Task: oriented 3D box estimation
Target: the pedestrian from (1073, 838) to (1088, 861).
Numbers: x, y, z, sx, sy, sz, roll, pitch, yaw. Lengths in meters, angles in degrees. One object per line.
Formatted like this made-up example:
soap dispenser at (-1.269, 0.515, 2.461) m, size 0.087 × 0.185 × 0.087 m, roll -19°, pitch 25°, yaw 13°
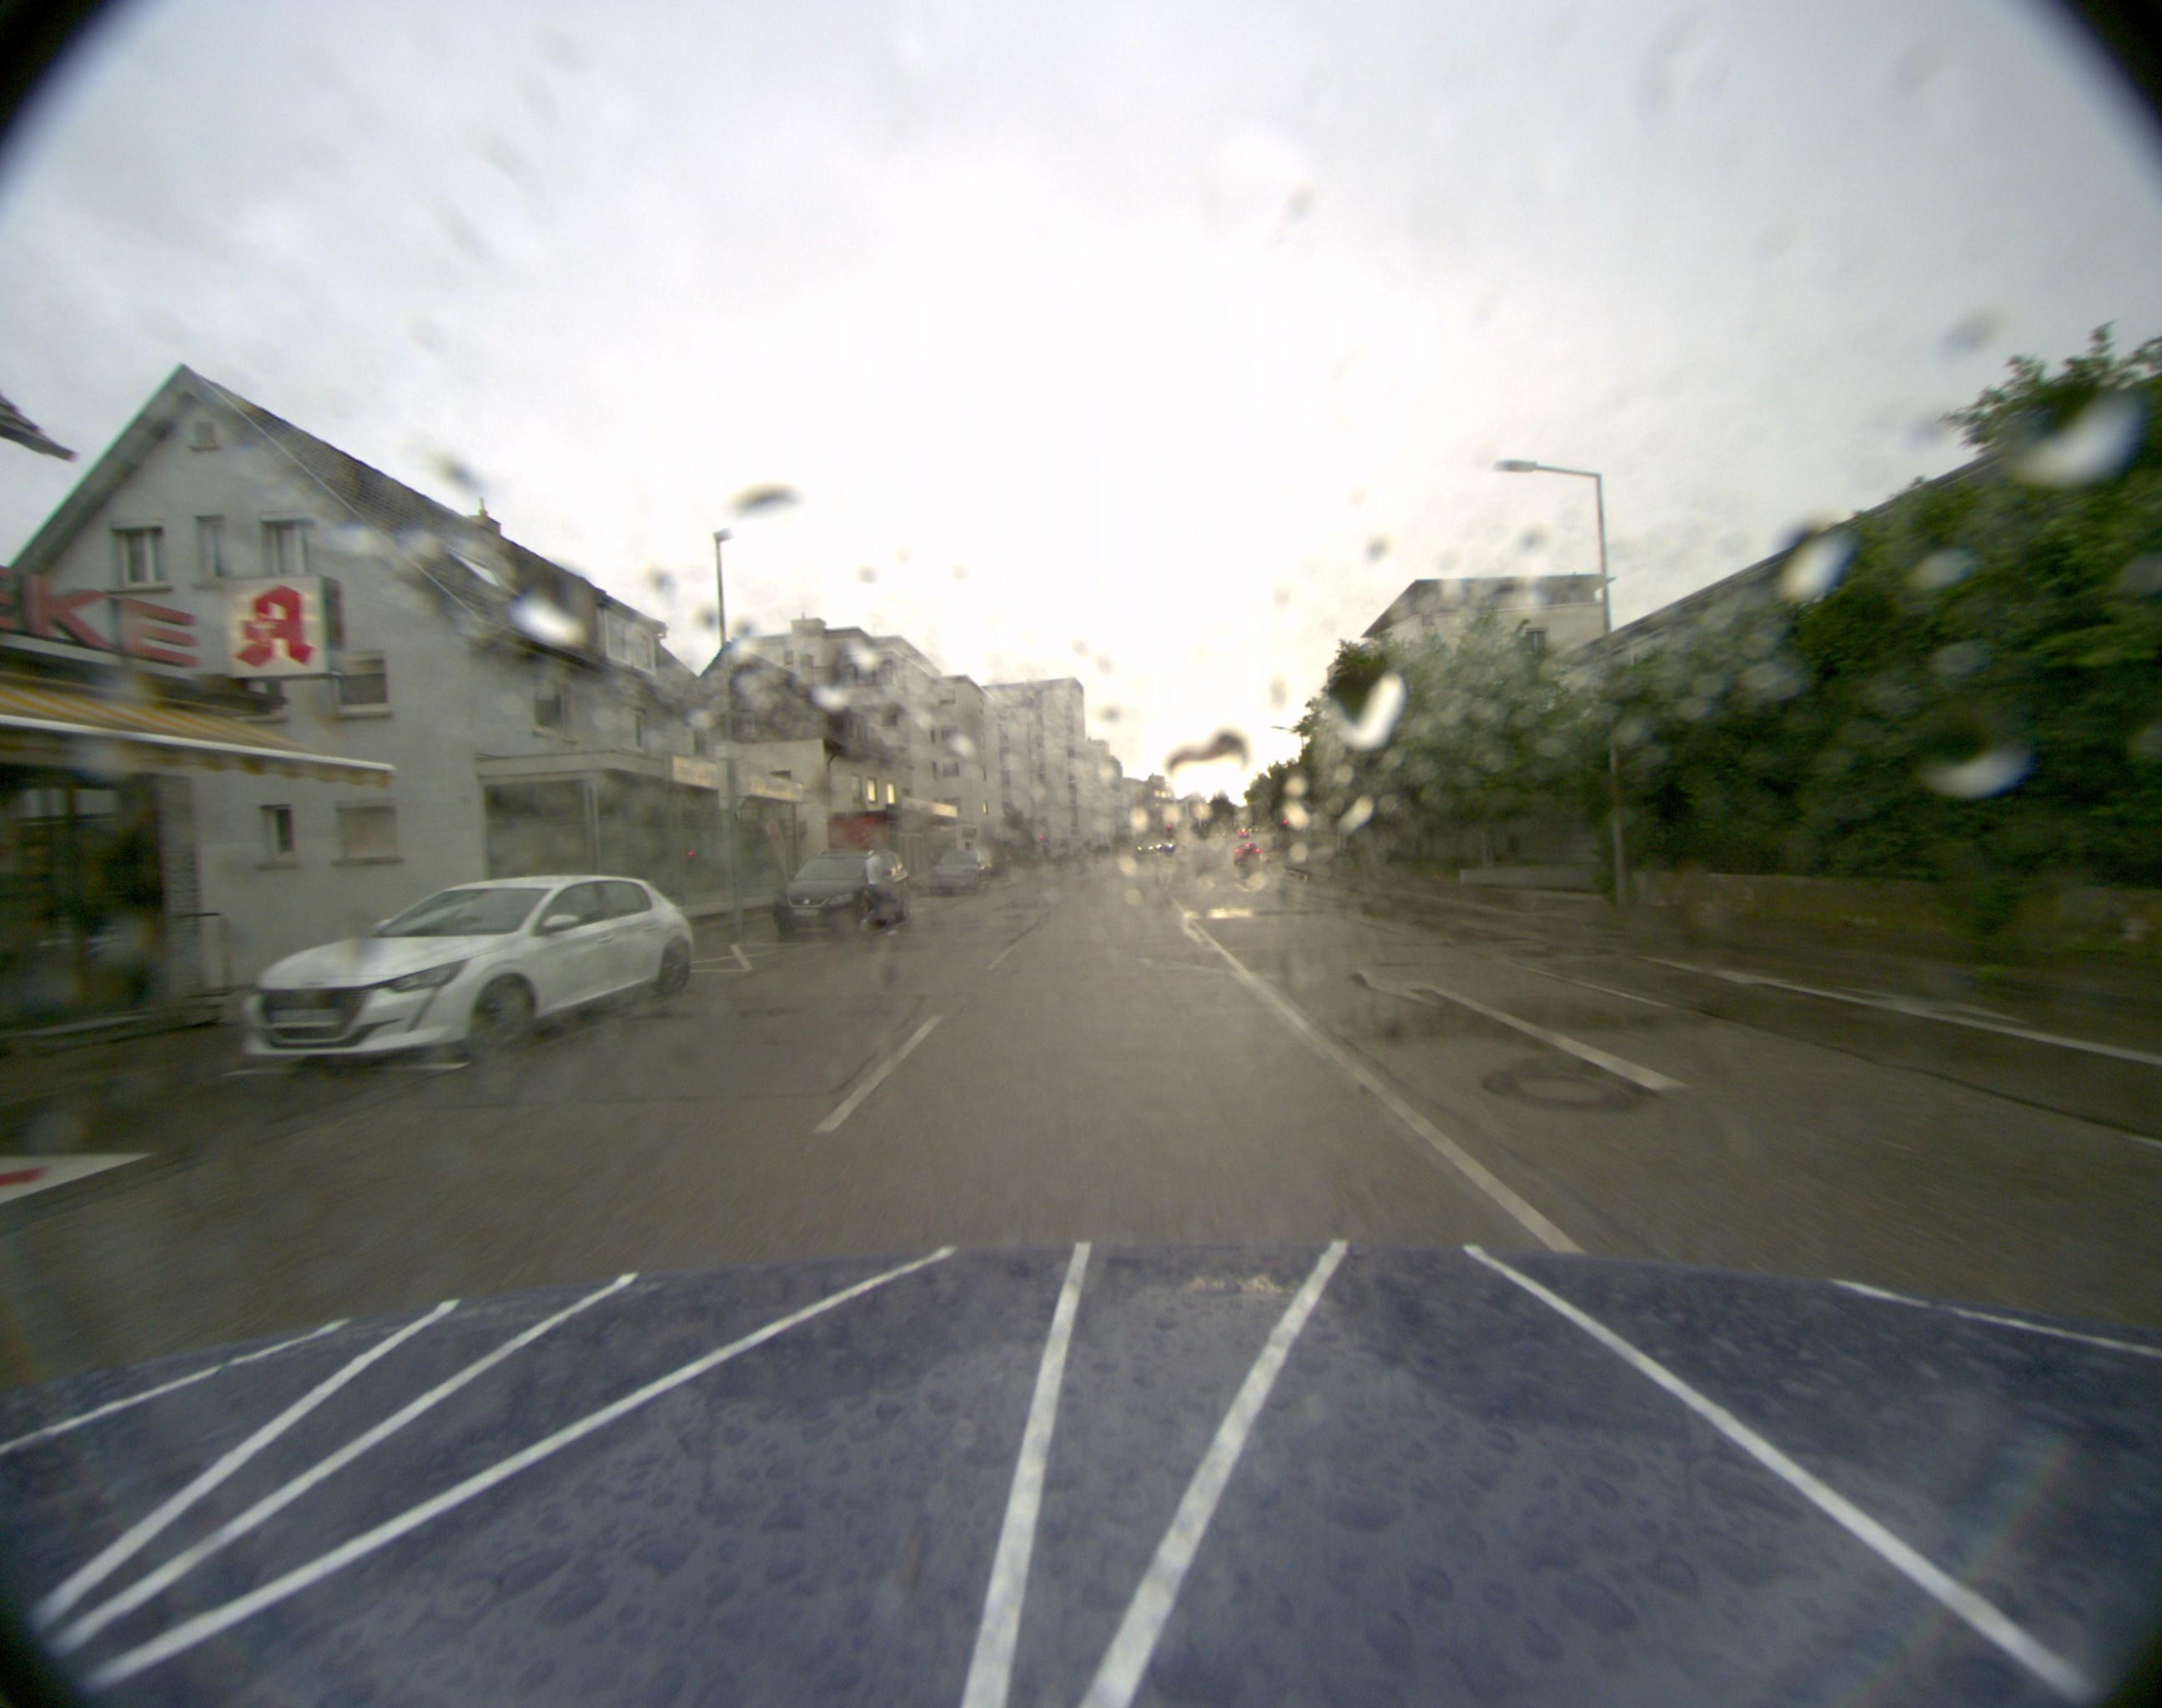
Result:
pedestrian at (-0.017, -0.369, 58.917) m, size 0.667 × 1.693 × 0.948 m, roll -3°, pitch 2°, yaw 27°

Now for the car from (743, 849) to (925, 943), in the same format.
car at (-5.179, 0.777, 16.803) m, size 2.040 × 1.686 × 4.963 m, roll 0°, pitch 2°, yaw 5°

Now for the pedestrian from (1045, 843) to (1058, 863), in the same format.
pedestrian at (-2.432, -0.077, 63.314) m, size 0.754 × 1.559 × 0.993 m, roll -5°, pitch 2°, yaw 8°

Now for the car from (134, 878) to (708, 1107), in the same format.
car at (-5.712, 1.055, 7.478) m, size 1.819 × 1.440 × 4.203 m, roll -1°, pitch 1°, yaw 3°

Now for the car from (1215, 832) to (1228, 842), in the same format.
car at (31.853, -3.941, 172.077) m, size 1.996 × 2.002 × 4.004 m, roll -6°, pitch 1°, yaw 18°

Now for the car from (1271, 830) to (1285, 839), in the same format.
car at (35.781, -3.491, 138.167) m, size 1.734 × 1.470 × 4.026 m, roll -3°, pitch 1°, yaw 23°

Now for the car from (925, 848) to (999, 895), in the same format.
car at (-4.607, 0.622, 30.196) m, size 1.879 × 1.633 × 4.792 m, roll 0°, pitch 1°, yaw 4°

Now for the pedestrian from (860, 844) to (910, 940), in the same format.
pedestrian at (-3.976, 0.748, 15.412) m, size 0.622 × 1.880 × 0.648 m, roll -2°, pitch 1°, yaw 38°

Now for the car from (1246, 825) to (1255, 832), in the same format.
car at (43.351, -6.441, 193.976) m, size 1.827 × 1.677 × 4.004 m, roll -2°, pitch 1°, yaw 19°

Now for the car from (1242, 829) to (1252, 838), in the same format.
car at (35.133, -4.370, 160.742) m, size 1.691 × 1.546 × 3.910 m, roll -4°, pitch 2°, yaw 17°

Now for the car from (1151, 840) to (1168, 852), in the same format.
car at (11.190, -1.166, 108.120) m, size 1.752 × 1.470 × 4.003 m, roll -4°, pitch 1°, yaw 13°

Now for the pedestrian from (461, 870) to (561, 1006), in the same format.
pedestrian at (-6.916, 1.003, 9.251) m, size 0.647 × 1.559 × 0.624 m, roll -3°, pitch 1°, yaw 4°

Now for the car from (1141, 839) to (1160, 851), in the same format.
car at (9.203, -1.164, 100.280) m, size 1.739 × 1.477 × 4.153 m, roll -2°, pitch 1°, yaw 17°

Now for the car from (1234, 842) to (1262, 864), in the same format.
car at (12.061, -0.102, 55.215) m, size 1.778 × 1.498 × 4.106 m, roll 0°, pitch 2°, yaw 9°

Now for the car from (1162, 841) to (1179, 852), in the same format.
car at (13.759, -1.137, 116.342) m, size 1.896 × 1.536 × 4.024 m, roll -3°, pitch 1°, yaw 15°
